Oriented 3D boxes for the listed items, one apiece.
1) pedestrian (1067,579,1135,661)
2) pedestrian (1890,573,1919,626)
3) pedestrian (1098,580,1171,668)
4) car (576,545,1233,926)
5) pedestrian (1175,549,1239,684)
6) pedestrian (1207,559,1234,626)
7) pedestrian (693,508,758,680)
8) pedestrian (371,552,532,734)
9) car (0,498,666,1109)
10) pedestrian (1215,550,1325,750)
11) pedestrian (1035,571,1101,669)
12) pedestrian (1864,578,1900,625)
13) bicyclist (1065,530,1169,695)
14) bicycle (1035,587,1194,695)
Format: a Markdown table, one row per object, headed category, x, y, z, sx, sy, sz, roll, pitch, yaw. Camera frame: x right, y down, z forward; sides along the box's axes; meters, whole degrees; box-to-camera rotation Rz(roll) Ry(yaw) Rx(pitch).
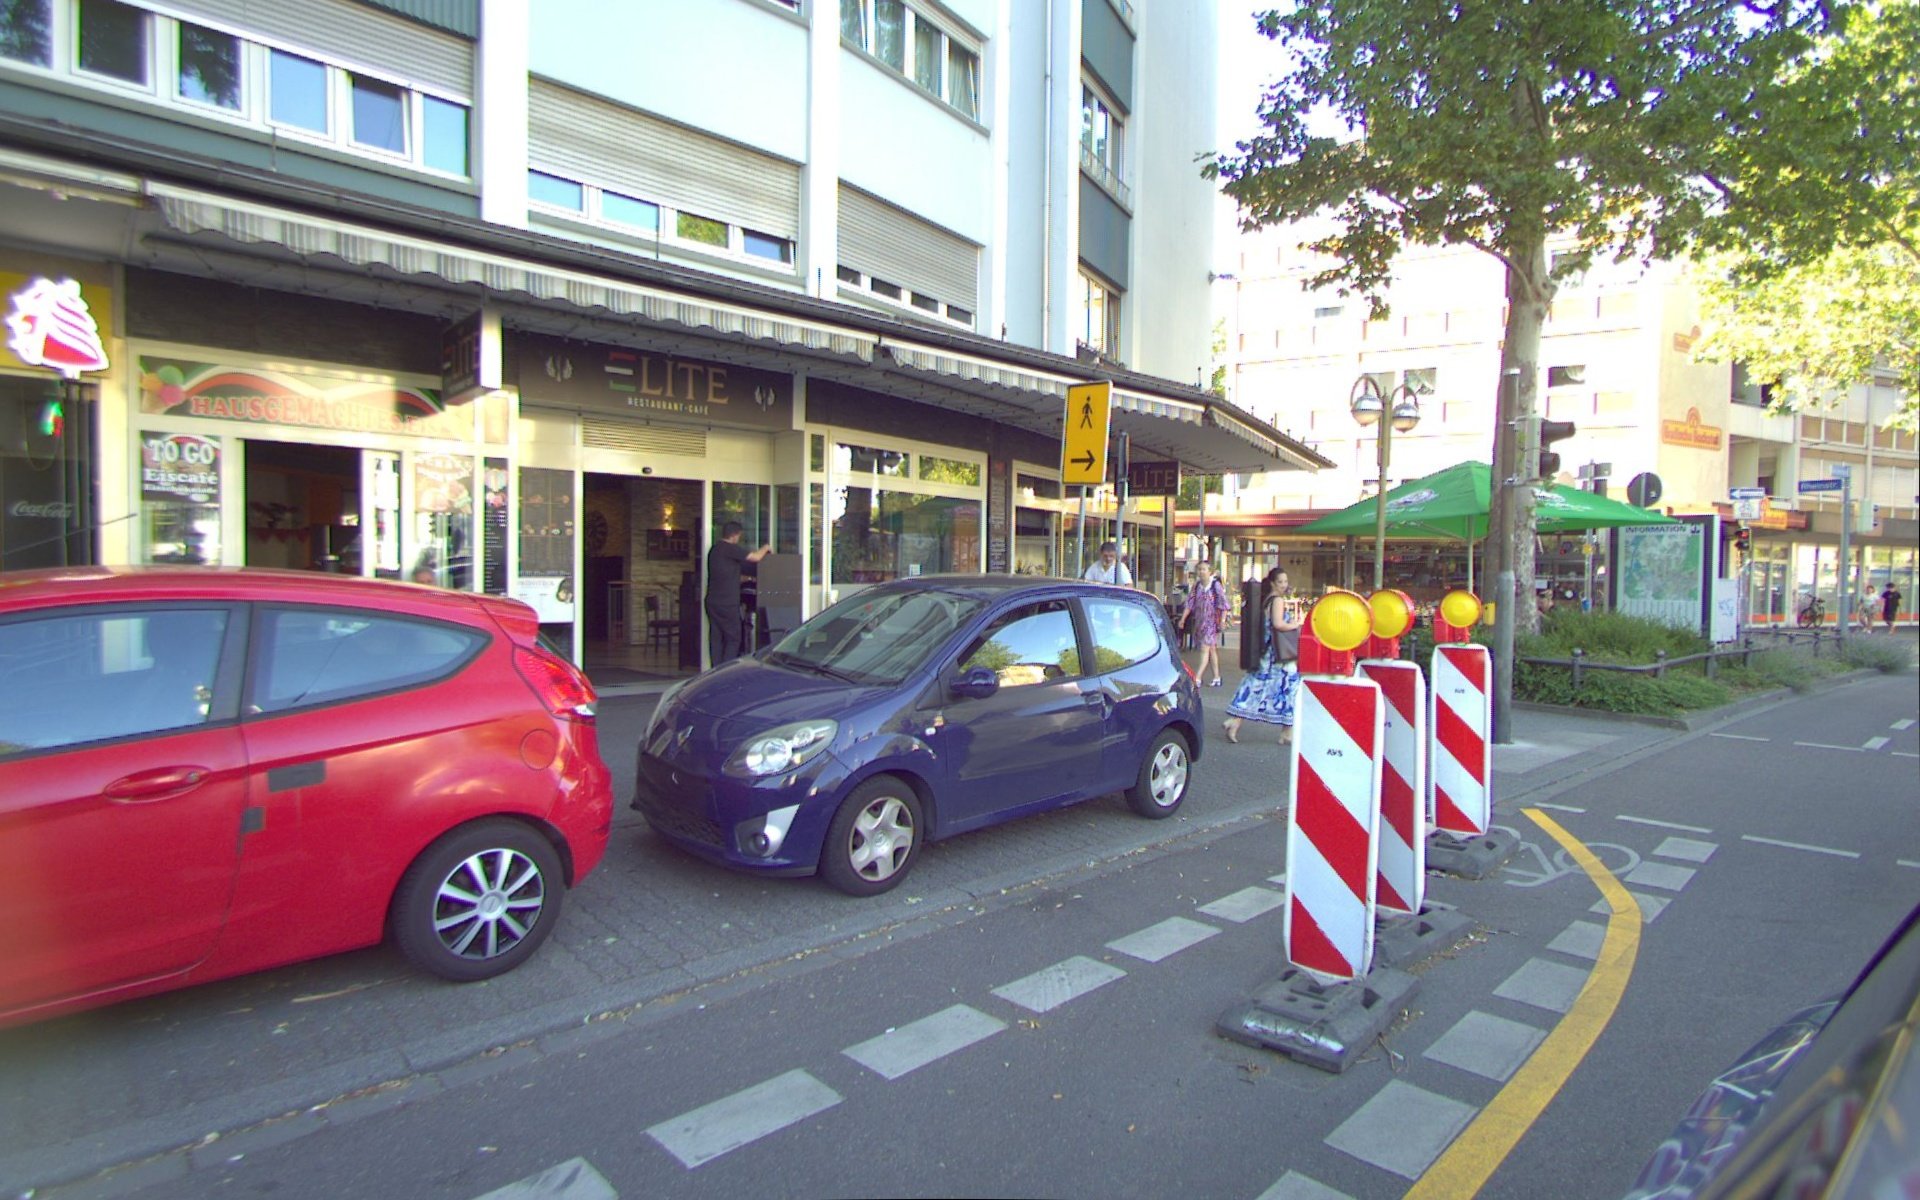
| category | x | y | z | sx | sy | sz | roll | pitch | yaw |
| --- | --- | --- | --- | --- | --- | --- | --- | --- | --- |
| pedestrian | 2.153 | 0.289 | 15.465 | 0.776 | 1.207 | 0.648 | 0 | 2 | -34 |
| pedestrian | 29.148 | -0.009 | 31.114 | 0.520 | 1.605 | 0.630 | 0 | 1 | -21 |
| pedestrian | 2.511 | 0.327 | 14.623 | 0.685 | 1.207 | 0.881 | 0 | 1 | -17 |
| car | -0.153 | 0.504 | 5.988 | 3.551 | 1.485 | 1.769 | -1 | 5 | -43 |
| pedestrian | 3.122 | 0.191 | 12.793 | 0.624 | 1.657 | 0.525 | 2 | 1 | 34 |
| pedestrian | 7.946 | -0.242 | 30.870 | 0.637 | 1.983 | 0.888 | 1 | 1 | 6 |
| pedestrian | -2.521 | -0.079 | 10.889 | 0.547 | 1.800 | 0.395 | -2 | 4 | -43 |
| pedestrian | -4.133 | 0.300 | 8.210 | 0.937 | 1.352 | 1.069 | 0 | 2 | -41 |
| car | -3.136 | 0.483 | 3.320 | 3.761 | 1.614 | 1.784 | -1 | 5 | -45 |
| pedestrian | 2.726 | 0.404 | 8.901 | 0.783 | 1.667 | 0.583 | 0 | 2 | -42 |
| pedestrian | 1.502 | 0.264 | 14.192 | 0.685 | 1.323 | 0.793 | 0 | 1 | -13 |
| pedestrian | 28.893 | 0.037 | 31.719 | 0.520 | 1.455 | 0.630 | 0 | 1 | -21 |
| bicyclist | 1.853 | 0.116 | 11.952 | 0.909 | 1.848 | 0.753 | -1 | 3 | -37 |
| bicycle | 1.842 | 0.454 | 11.936 | 1.852 | 1.143 | 0.752 | 1 | 3 | -38 |
